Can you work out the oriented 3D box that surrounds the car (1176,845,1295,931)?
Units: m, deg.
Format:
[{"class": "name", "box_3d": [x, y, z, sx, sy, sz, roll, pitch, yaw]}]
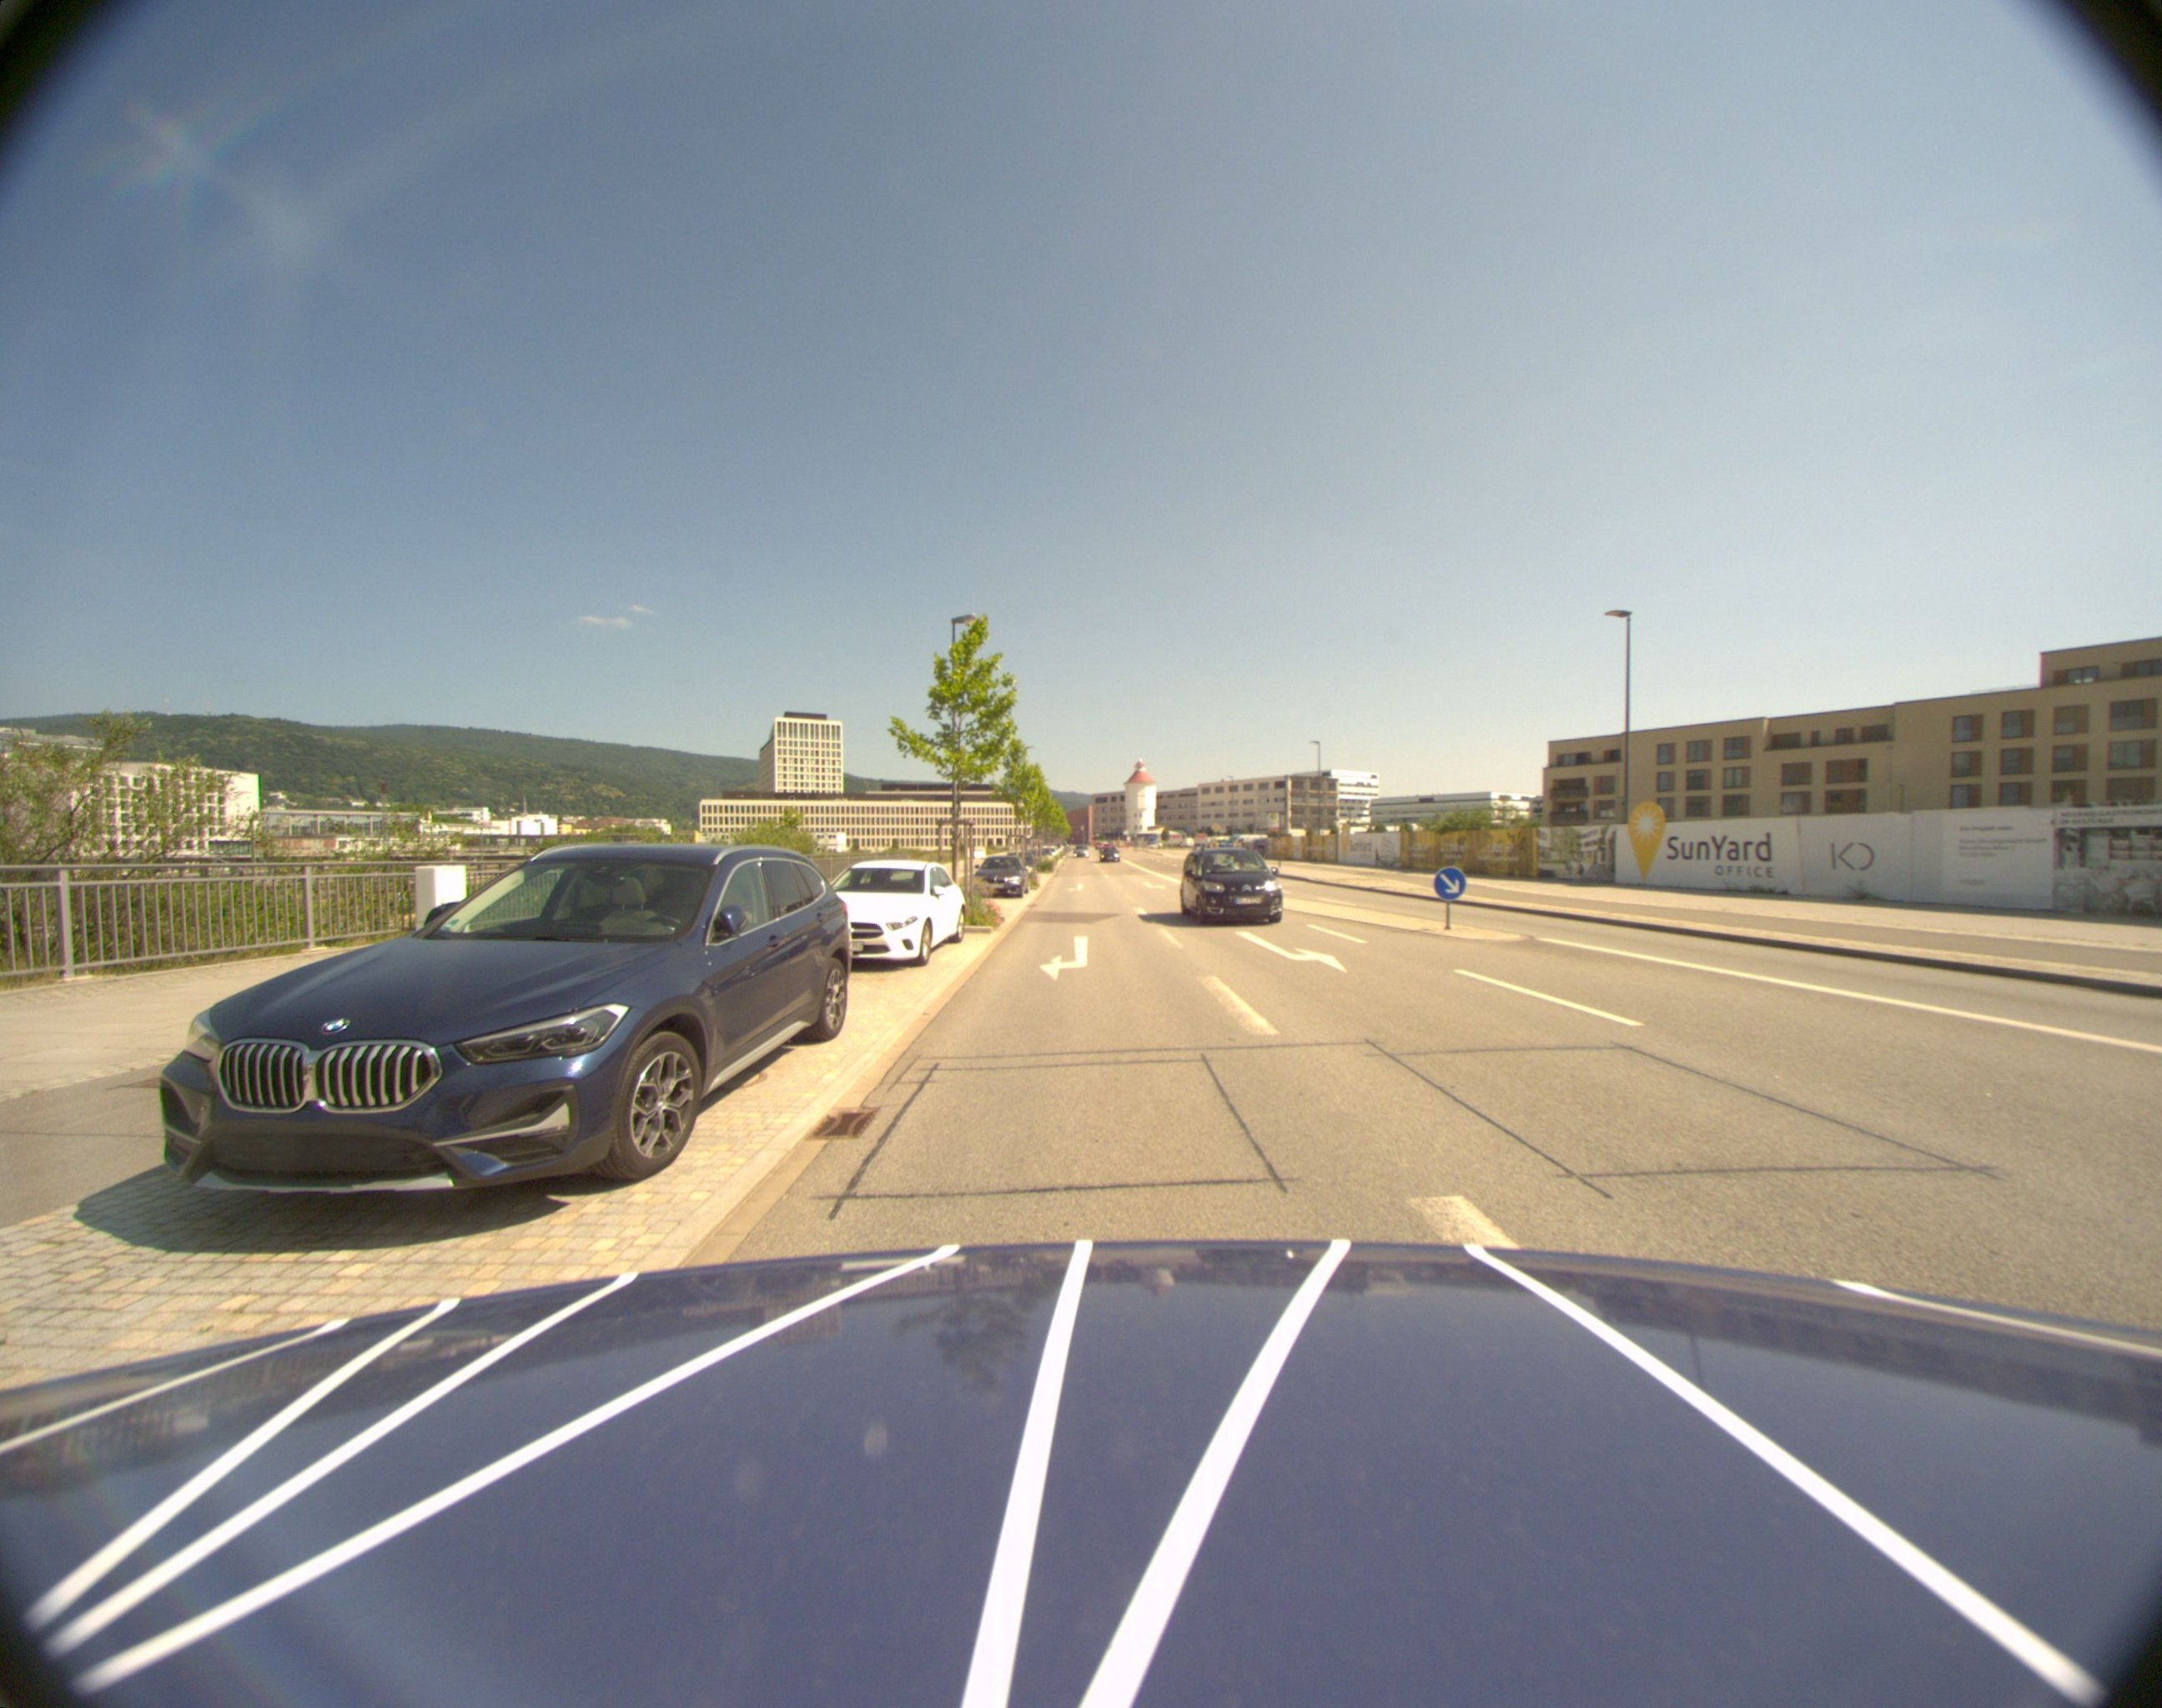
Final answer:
[{"class": "car", "box_3d": [3.250, 0.639, 16.755, 1.808, 1.613, 3.916, -2, 1, 0]}]

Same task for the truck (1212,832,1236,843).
[{"class": "truck", "box_3d": [34.766, -4.031, 184.536, 5.412, 2.461, 1.999, -2, 1, -2]}]

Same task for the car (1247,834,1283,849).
[{"class": "car", "box_3d": [23.217, -1.579, 95.867, 3.930, 1.708, 1.891, -2, 1, -5]}]

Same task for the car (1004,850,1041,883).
[{"class": "car", "box_3d": [-2.866, 0.595, 37.858, 1.569, 1.465, 3.006, 2, 1, 0]}]

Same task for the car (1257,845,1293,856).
[{"class": "car", "box_3d": [19.769, -0.392, 77.410, 3.359, 0.947, 1.293, -2, 1, 3]}]

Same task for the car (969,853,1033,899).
[{"class": "car", "box_3d": [-2.765, 0.723, 27.088, 1.808, 1.424, 3.916, 2, 1, 0]}]

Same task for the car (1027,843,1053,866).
[{"class": "car", "box_3d": [-3.261, 0.015, 60.373, 1.768, 1.609, 3.374, -3, 1, 0]}]

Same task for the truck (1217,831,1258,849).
[{"class": "truck", "box_3d": [23.184, -2.084, 112.570, 5.633, 2.461, 1.999, -2, 1, -4]}]

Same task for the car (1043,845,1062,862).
[{"class": "car", "box_3d": [-2.625, -0.070, 69.555, 1.526, 1.482, 3.504, -3, 1, 0]}]

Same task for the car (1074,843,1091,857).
[{"class": "car", "box_3d": [0.219, -0.468, 89.612, 1.820, 1.458, 4.346, -2, 1, 1]}]

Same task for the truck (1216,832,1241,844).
[{"class": "truck", "box_3d": [34.206, -3.672, 176.619, 5.333, 2.461, 1.999, -2, 1, -4]}]

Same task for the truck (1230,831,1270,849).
[{"class": "truck", "box_3d": [23.317, -1.923, 105.215, 5.004, 2.215, 1.999, -2, 1, -1]}]

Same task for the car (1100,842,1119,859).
[{"class": "car", "box_3d": [2.570, -0.339, 69.321, 1.709, 1.404, 3.999, -1, 1, 1]}]

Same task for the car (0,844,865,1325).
[{"class": "car", "box_3d": [-2.900, 0.797, 4.828, 1.808, 1.674, 4.270, 1, 1, 0]}]

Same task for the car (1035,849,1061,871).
[{"class": "car", "box_3d": [-2.136, 0.381, 49.830, 1.490, 1.302, 3.154, 2, 1, 0]}]

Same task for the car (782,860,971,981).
[{"class": "car", "box_3d": [-2.907, 0.856, 11.763, 1.711, 1.366, 4.270, 2, 1, 0]}]
